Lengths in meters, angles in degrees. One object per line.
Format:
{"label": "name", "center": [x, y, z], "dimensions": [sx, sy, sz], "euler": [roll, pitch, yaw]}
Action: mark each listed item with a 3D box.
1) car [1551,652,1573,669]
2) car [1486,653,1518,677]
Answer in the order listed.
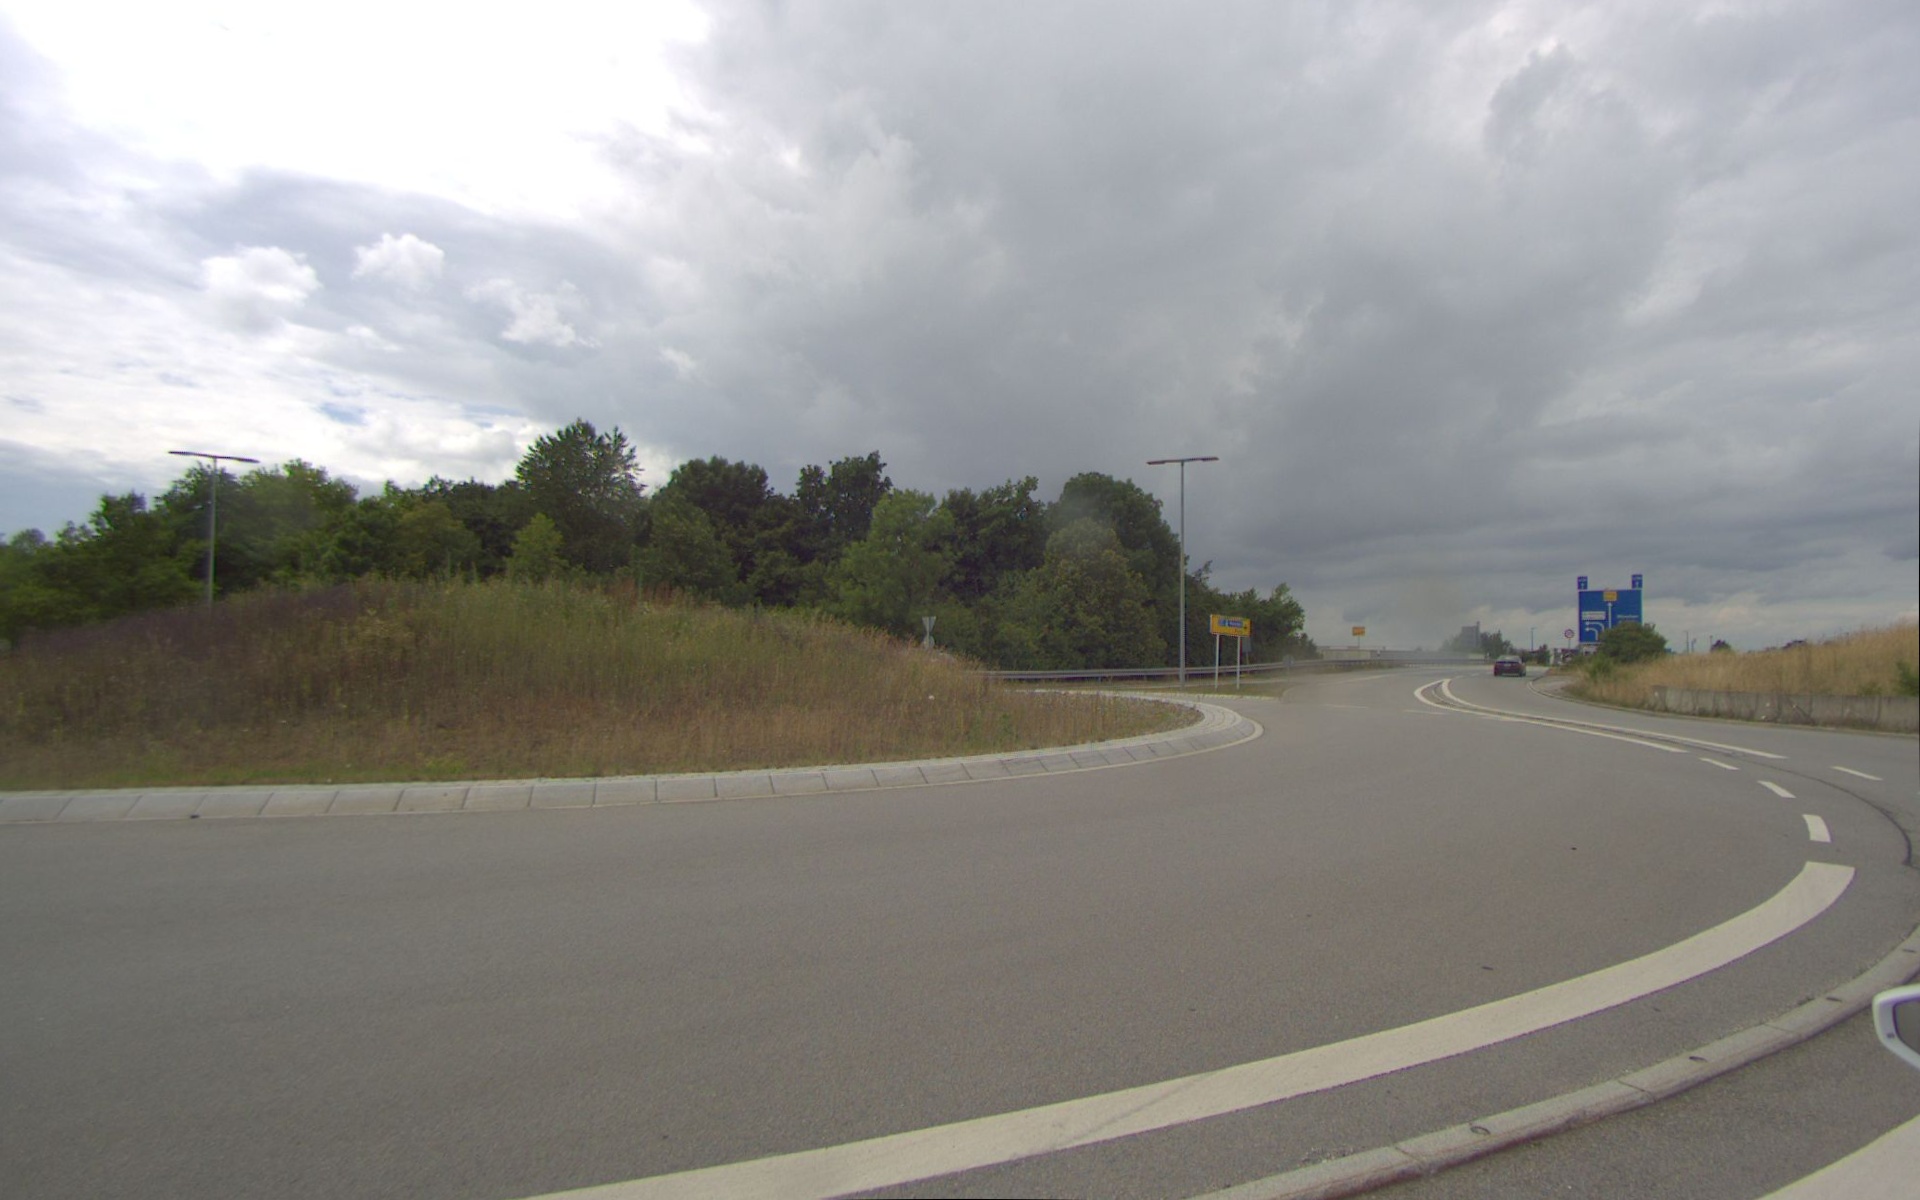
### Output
{"label": "car", "center": [63.226, 6.350, 105.481], "dimensions": [1.577, 1.569, 4.032], "euler": [-2, -2, 35]}
{"label": "car", "center": [35.443, 4.228, 65.642], "dimensions": [1.498, 1.505, 3.605], "euler": [-1, -4, 35]}
